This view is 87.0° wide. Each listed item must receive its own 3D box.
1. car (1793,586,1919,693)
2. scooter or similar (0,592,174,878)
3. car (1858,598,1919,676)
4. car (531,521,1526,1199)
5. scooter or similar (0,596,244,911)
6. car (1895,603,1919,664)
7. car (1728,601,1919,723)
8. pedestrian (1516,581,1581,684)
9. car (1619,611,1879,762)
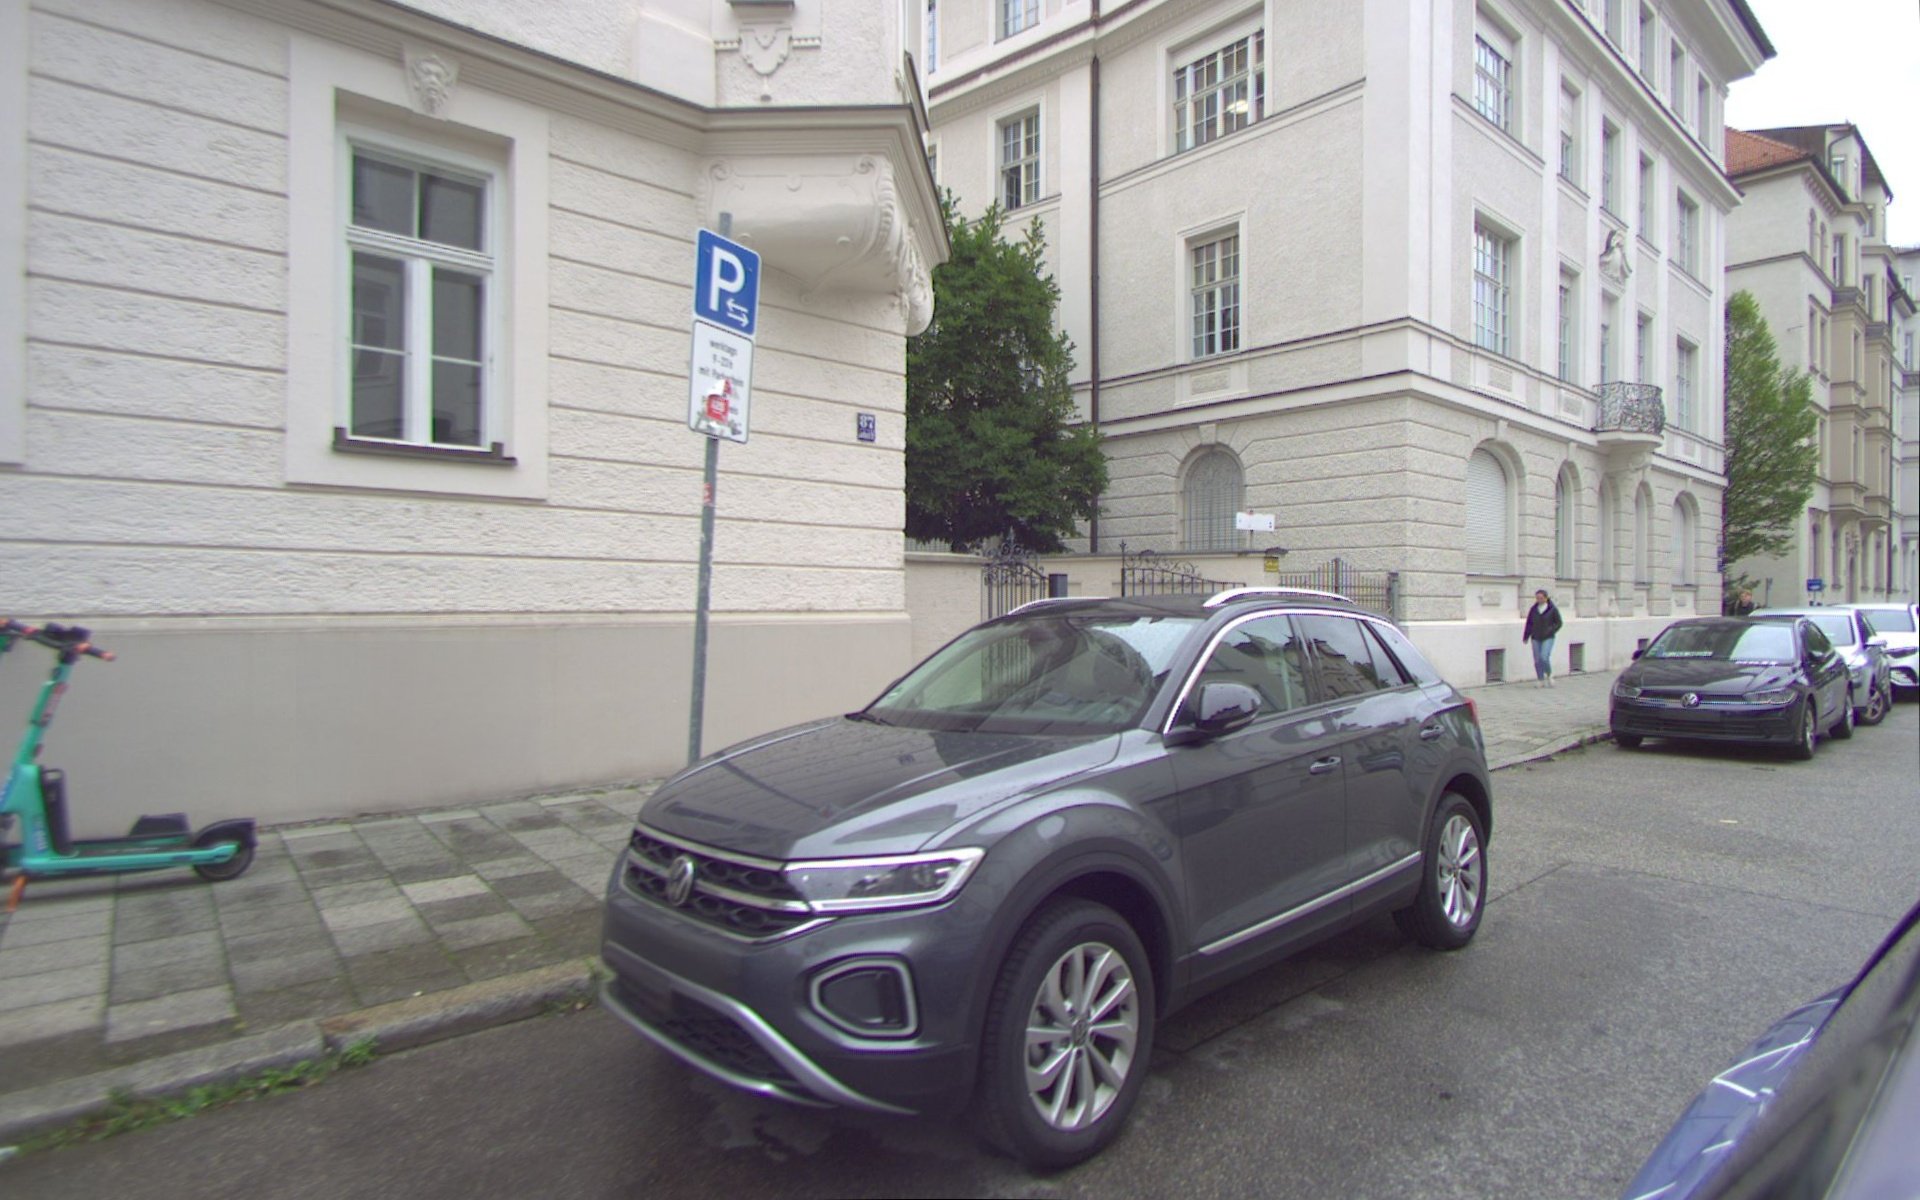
[{"bbox_3d":[16.306,0.653,17.692,4.312,1.657,1.900,1,0,-40],"label":"car"},{"bbox_3d":[-4.637,0.623,4.842,1.325,1.303,0.509,1,2,-32],"label":"scooter or similar"},{"bbox_3d":[20.589,0.755,21.471,4.096,1.544,1.752,0,0,-40],"label":"car"},{"bbox_3d":[0.605,0.666,4.026,3.931,1.608,1.709,1,-1,-42],"label":"car"},{"bbox_3d":[-4.121,0.647,4.514,1.474,1.303,0.542,0,2,-32],"label":"scooter or similar"},{"bbox_3d":[24.934,0.826,25.387,4.150,1.470,1.714,1,-1,-41],"label":"car"},{"bbox_3d":[12.612,0.780,14.685,3.933,1.520,1.710,0,0,-43],"label":"car"},{"bbox_3d":[10.116,0.546,17.391,0.798,1.699,0.683,1,2,-41],"label":"pedestrian"},{"bbox_3d":[9.039,0.838,11.483,3.930,1.413,1.615,0,-1,-41],"label":"car"}]
